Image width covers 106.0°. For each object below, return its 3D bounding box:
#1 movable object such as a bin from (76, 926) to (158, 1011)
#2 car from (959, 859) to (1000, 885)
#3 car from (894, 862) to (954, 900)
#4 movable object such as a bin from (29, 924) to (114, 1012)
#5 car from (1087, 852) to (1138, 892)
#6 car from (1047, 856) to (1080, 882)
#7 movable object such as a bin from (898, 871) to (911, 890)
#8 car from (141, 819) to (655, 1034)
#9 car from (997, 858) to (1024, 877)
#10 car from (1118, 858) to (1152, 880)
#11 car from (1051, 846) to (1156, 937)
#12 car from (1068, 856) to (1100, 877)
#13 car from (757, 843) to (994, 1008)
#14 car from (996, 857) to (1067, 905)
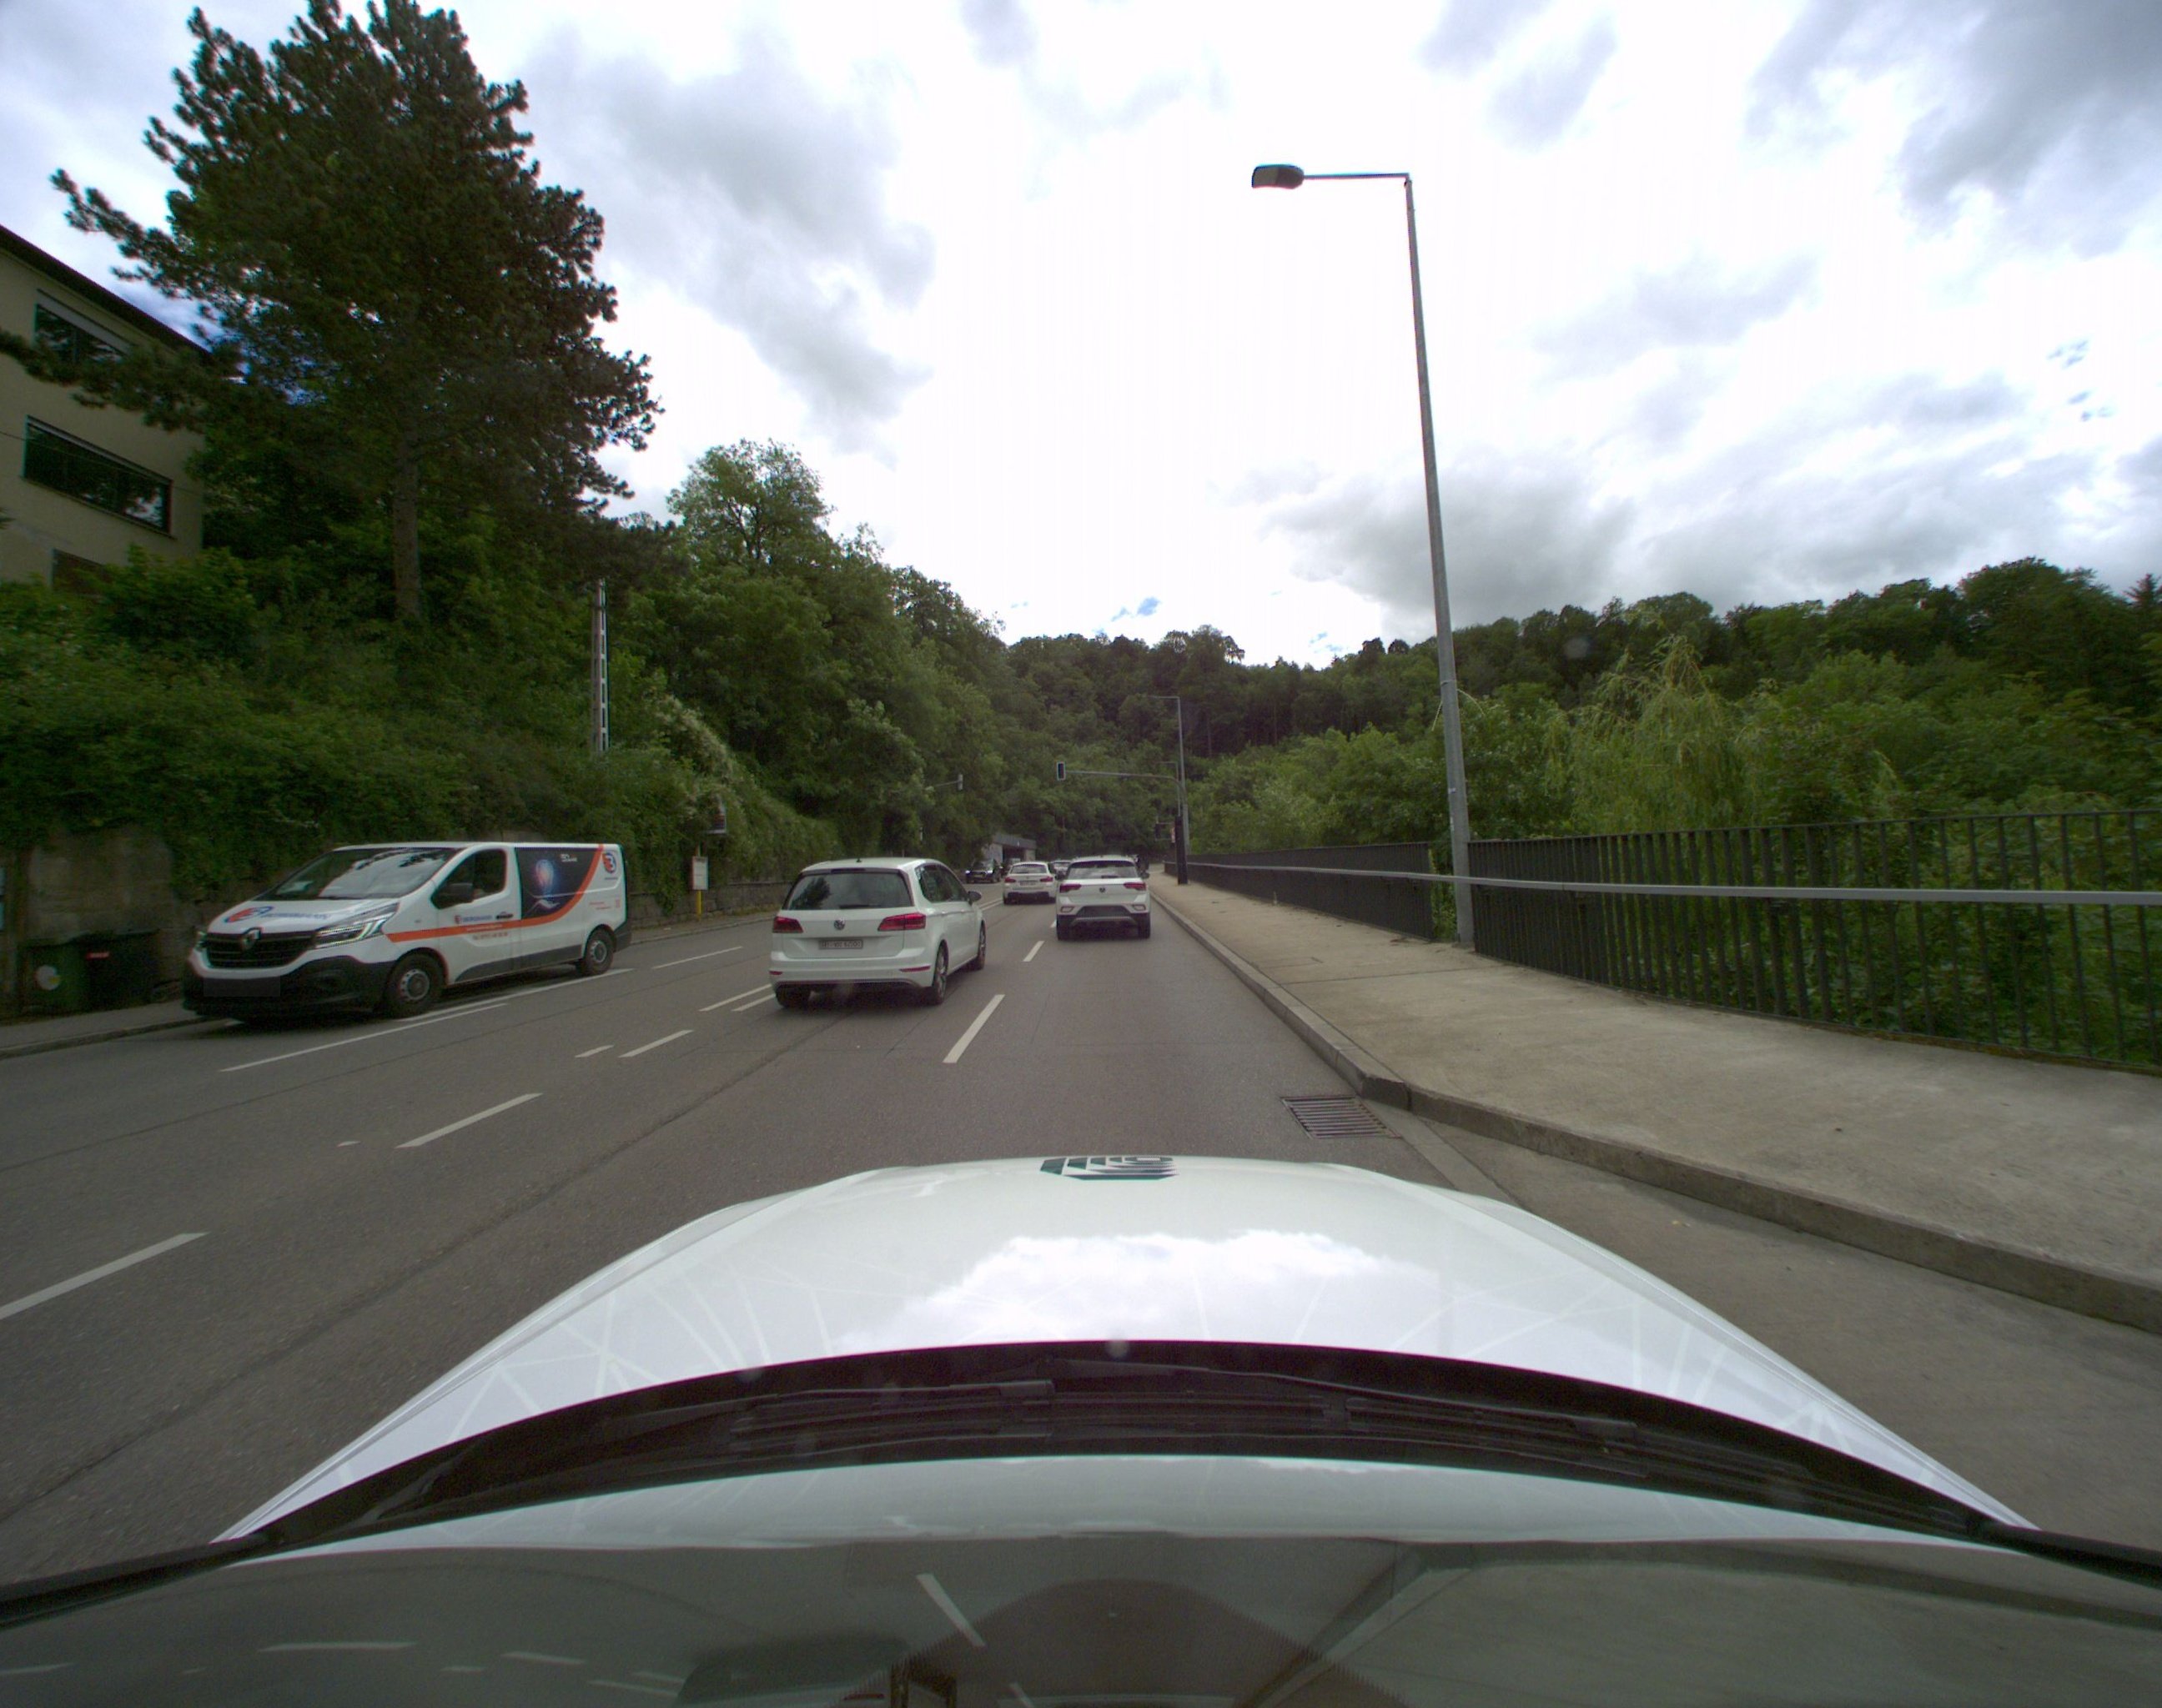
[{"bbox_3d":[-11.162,1.314,9.438,0.478,0.936,0.365,0,-1,-3],"label":"movable object such as a bin"},{"bbox_3d":[-6.609,1.149,53.459,1.934,1.549,4.250,-2,-1,2],"label":"car"},{"bbox_3d":[-7.008,1.176,36.779,1.669,1.442,4.237,0,1,3],"label":"car"},{"bbox_3d":[-11.668,1.306,9.421,0.476,0.971,0.367,0,-1,-3],"label":"movable object such as a bin"},{"bbox_3d":[1.589,0.865,39.289,1.982,1.843,4.160,0,-1,9],"label":"car"},{"bbox_3d":[-1.055,0.930,51.459,1.855,1.595,4.002,0,-1,2],"label":"car"},{"bbox_3d":[-10.374,1.549,47.859,0.639,1.067,0.557,0,-1,0],"label":"movable object such as a bin"},{"bbox_3d":[-7.978,0.716,10.504,1.914,2.005,5.358,-2,-1,2],"label":"car"},{"bbox_3d":[-5.768,1.067,67.121,1.774,1.482,4.213,0,0,2],"label":"car"},{"bbox_3d":[5.113,1.416,76.333,1.976,2.014,4.021,-1,-1,22],"label":"car"},{"bbox_3d":[0.411,0.707,16.515,1.808,1.539,4.007,-2,-1,0],"label":"car"},{"bbox_3d":[0.323,1.069,72.214,1.980,1.741,4.013,-2,-1,12],"label":"car"},{"bbox_3d":[-2.222,0.715,10.039,1.714,1.554,4.276,-2,-1,1],"label":"car"},{"bbox_3d":[-1.659,0.899,29.124,1.985,1.557,4.684,-1,0,3],"label":"car"}]
